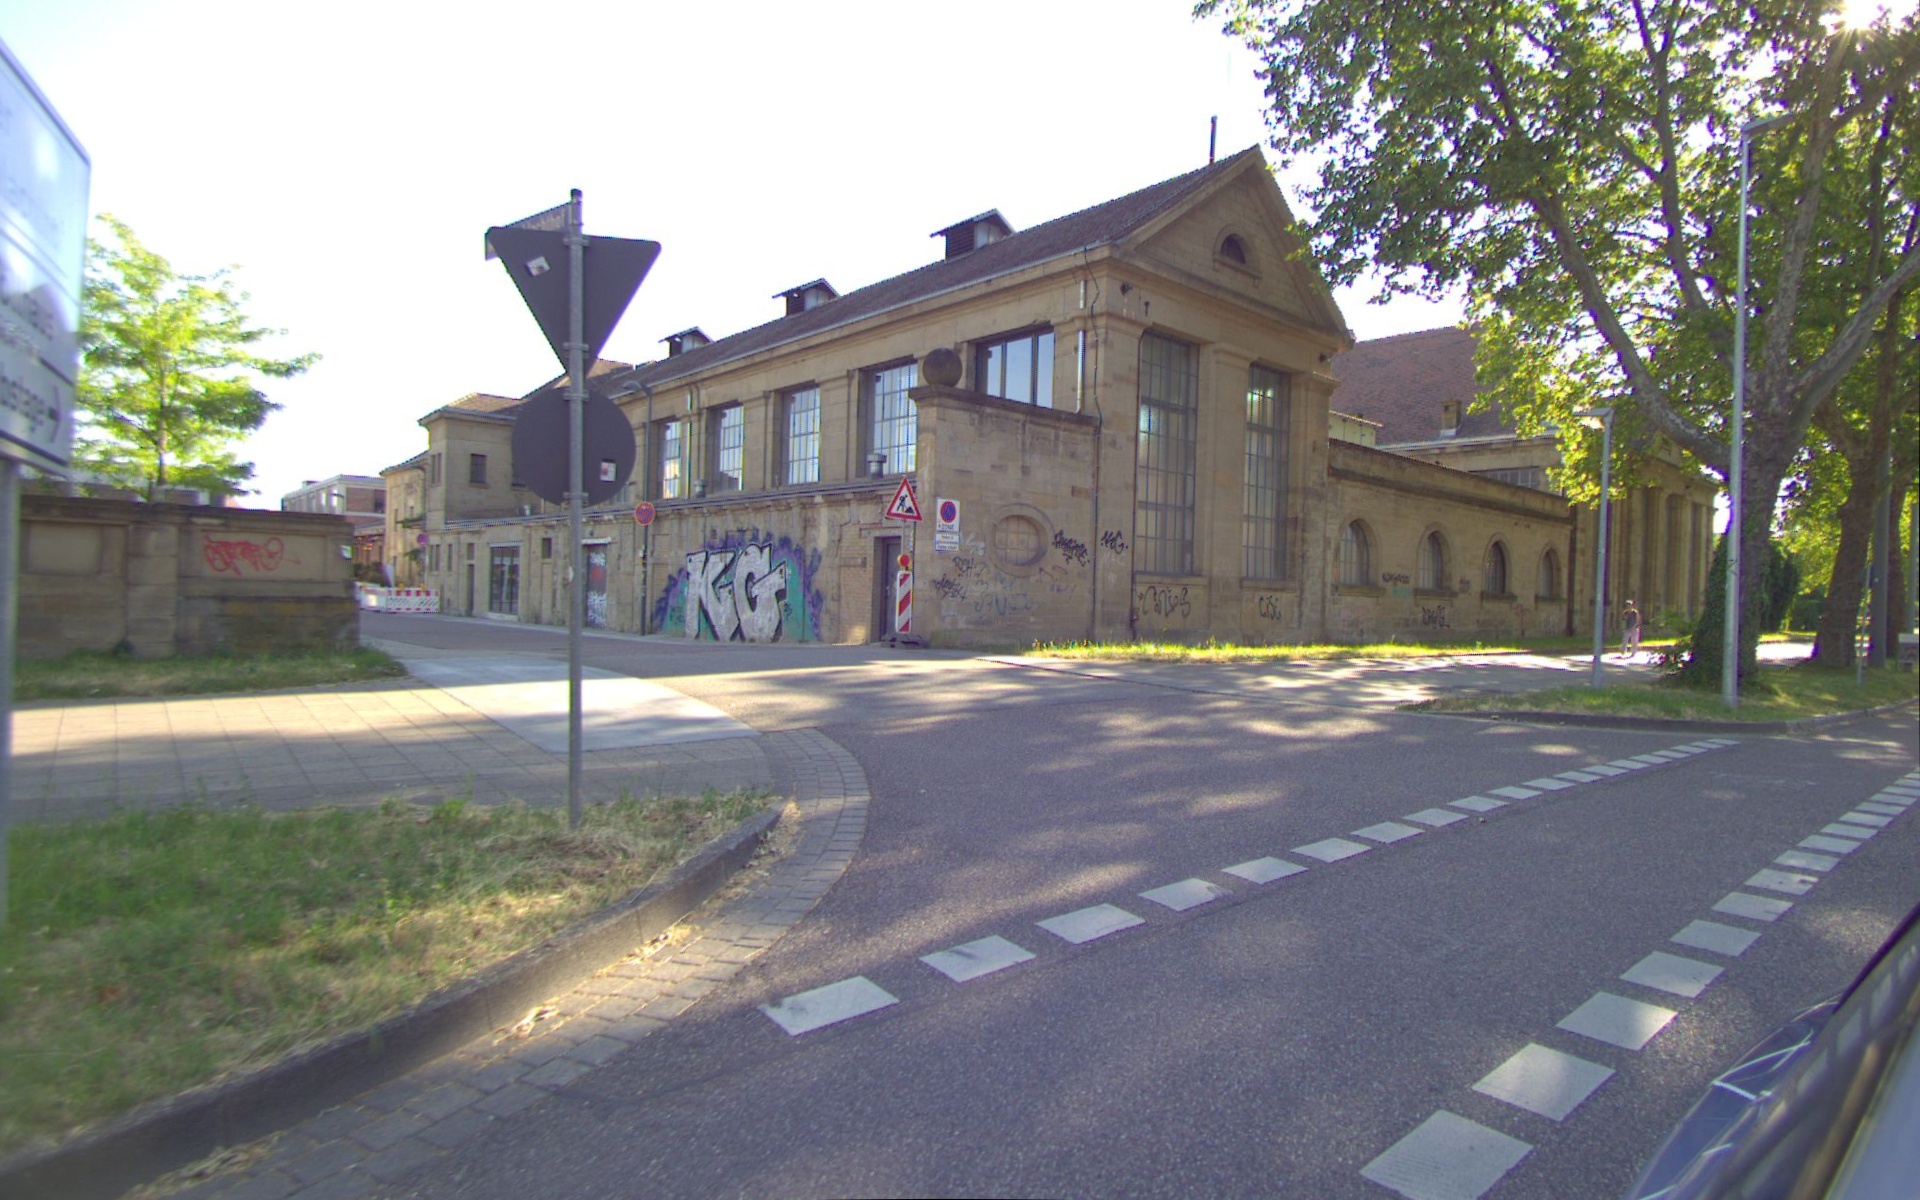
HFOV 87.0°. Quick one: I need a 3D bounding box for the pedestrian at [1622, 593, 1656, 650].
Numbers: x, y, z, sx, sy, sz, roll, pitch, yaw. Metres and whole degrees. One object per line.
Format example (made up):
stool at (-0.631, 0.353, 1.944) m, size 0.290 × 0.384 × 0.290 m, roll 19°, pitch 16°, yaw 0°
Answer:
pedestrian at (21.185, 0.664, 31.577) m, size 0.625 × 1.701 × 0.609 m, roll 1°, pitch 4°, yaw -43°
